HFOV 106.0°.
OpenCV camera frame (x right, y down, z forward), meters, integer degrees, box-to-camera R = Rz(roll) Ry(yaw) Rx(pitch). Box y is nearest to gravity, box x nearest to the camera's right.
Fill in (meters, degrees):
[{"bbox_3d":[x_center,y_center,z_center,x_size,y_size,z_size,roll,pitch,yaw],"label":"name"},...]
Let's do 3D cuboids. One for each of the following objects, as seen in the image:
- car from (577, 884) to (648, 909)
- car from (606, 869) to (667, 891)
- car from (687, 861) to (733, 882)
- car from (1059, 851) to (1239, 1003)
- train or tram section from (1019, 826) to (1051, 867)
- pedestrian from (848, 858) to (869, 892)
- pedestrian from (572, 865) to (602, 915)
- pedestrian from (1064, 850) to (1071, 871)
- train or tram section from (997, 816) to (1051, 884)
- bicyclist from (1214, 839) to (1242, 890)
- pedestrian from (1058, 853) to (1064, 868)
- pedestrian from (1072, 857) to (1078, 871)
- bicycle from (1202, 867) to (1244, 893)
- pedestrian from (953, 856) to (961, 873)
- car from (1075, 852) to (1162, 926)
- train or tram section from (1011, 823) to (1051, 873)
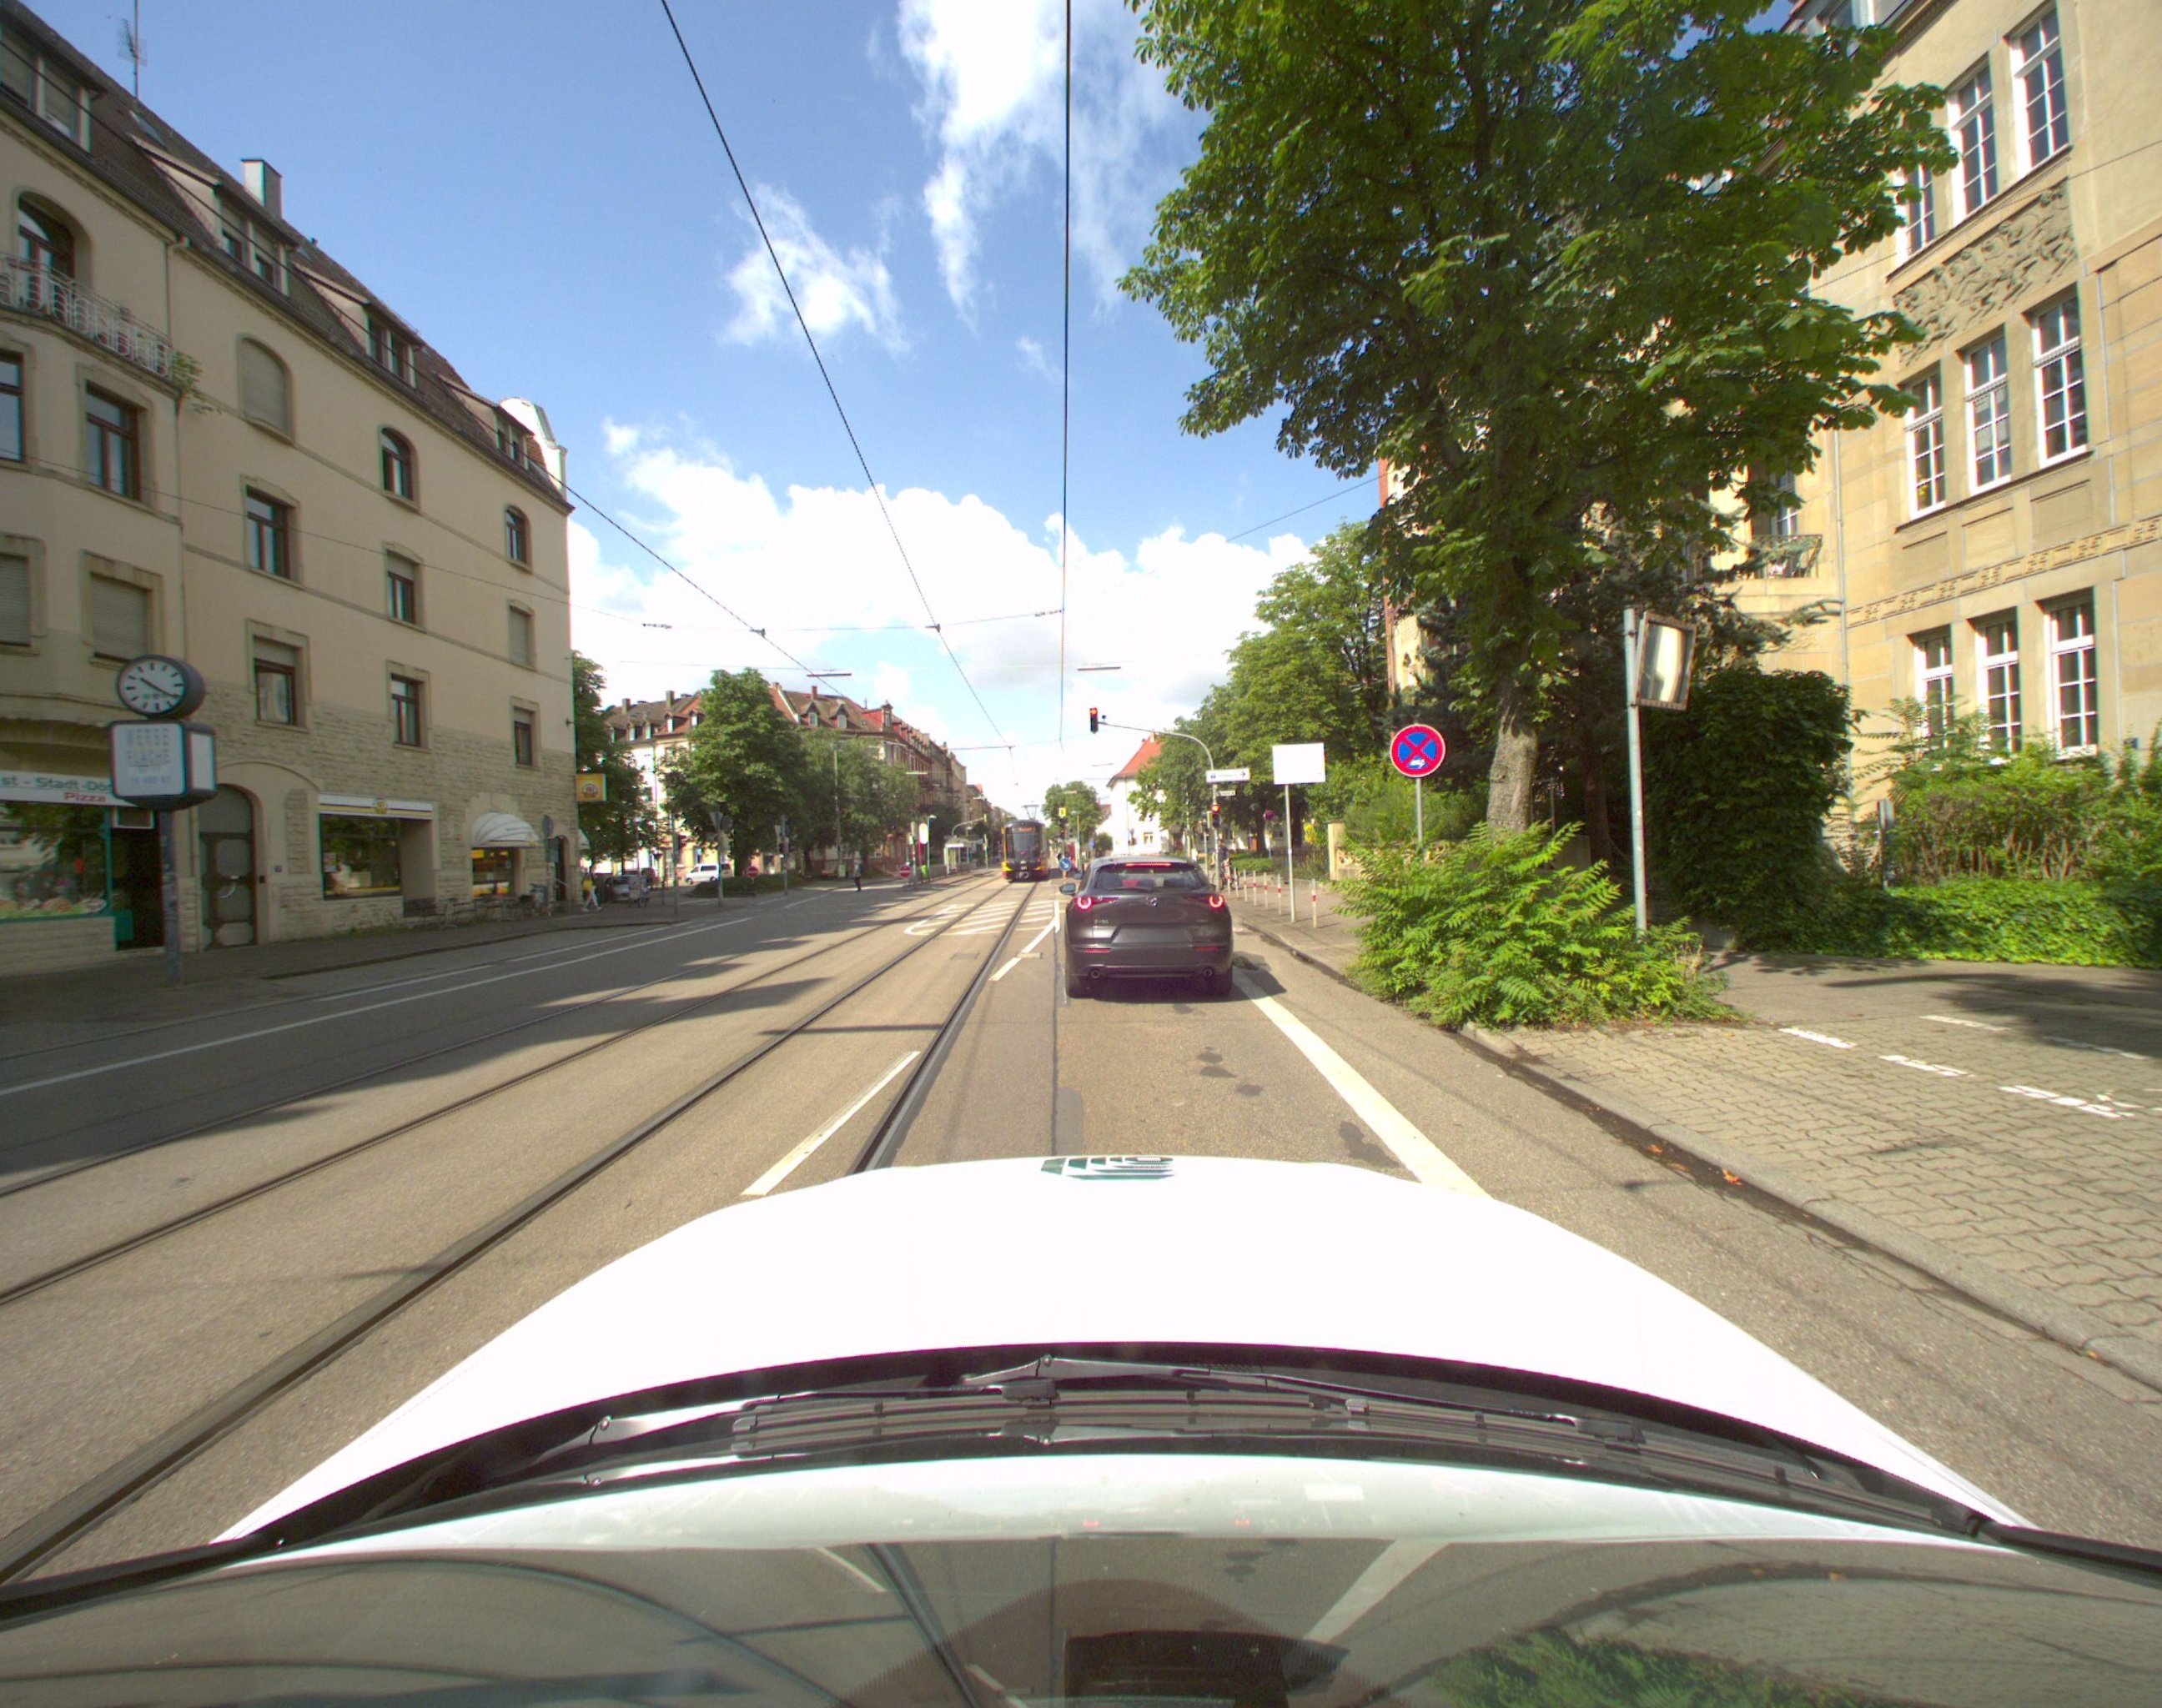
[{"bbox_3d":[-24.421,2.200,42.400,3.948,1.182,1.689,-2,0,35],"label":"car"},{"bbox_3d":[-37.347,2.160,68.527,3.972,1.596,2.001,-2,0,2],"label":"car"},{"bbox_3d":[-36.710,1.772,80.562,3.950,1.903,2.012,-2,0,26],"label":"car"},{"bbox_3d":[0.724,0.717,10.092,1.772,1.499,4.001,0,0,1],"label":"car"},{"bbox_3d":[-4.373,-0.790,79.542,2.746,3.490,14.396,-2,1,-2],"label":"train or tram section"},{"bbox_3d":[-11.751,1.110,43.000,0.723,1.705,0.814,-2,0,-43],"label":"pedestrian"},{"bbox_3d":[-17.849,1.278,29.421,0.684,1.754,0.797,-2,0,-16],"label":"pedestrian"},{"bbox_3d":[-0.954,0.470,58.372,0.449,1.434,0.474,-2,0,-3],"label":"pedestrian"},{"bbox_3d":[-3.305,-0.341,50.768,2.746,3.490,14.396,-2,1,-2],"label":"train or tram section"},{"bbox_3d":[5.251,0.370,29.081,0.613,1.793,0.650,-2,0,-40],"label":"bicyclist"},{"bbox_3d":[-1.464,0.475,58.353,0.379,1.071,0.474,-2,0,-3],"label":"pedestrian"},{"bbox_3d":[-0.434,0.724,58.551,0.379,0.984,0.474,-2,0,-3],"label":"pedestrian"},{"bbox_3d":[5.107,0.930,29.264,1.708,0.824,0.488,-2,0,-40],"label":"bicycle"},{"bbox_3d":[-9.860,0.840,64.980,0.424,1.399,0.401,-2,0,32],"label":"pedestrian"},{"bbox_3d":[0.824,0.717,18.720,1.772,1.499,4.001,0,0,1],"label":"car"},{"bbox_3d":[-3.833,-0.535,65.131,2.746,3.490,14.396,-2,1,-2],"label":"train or tram section"}]
